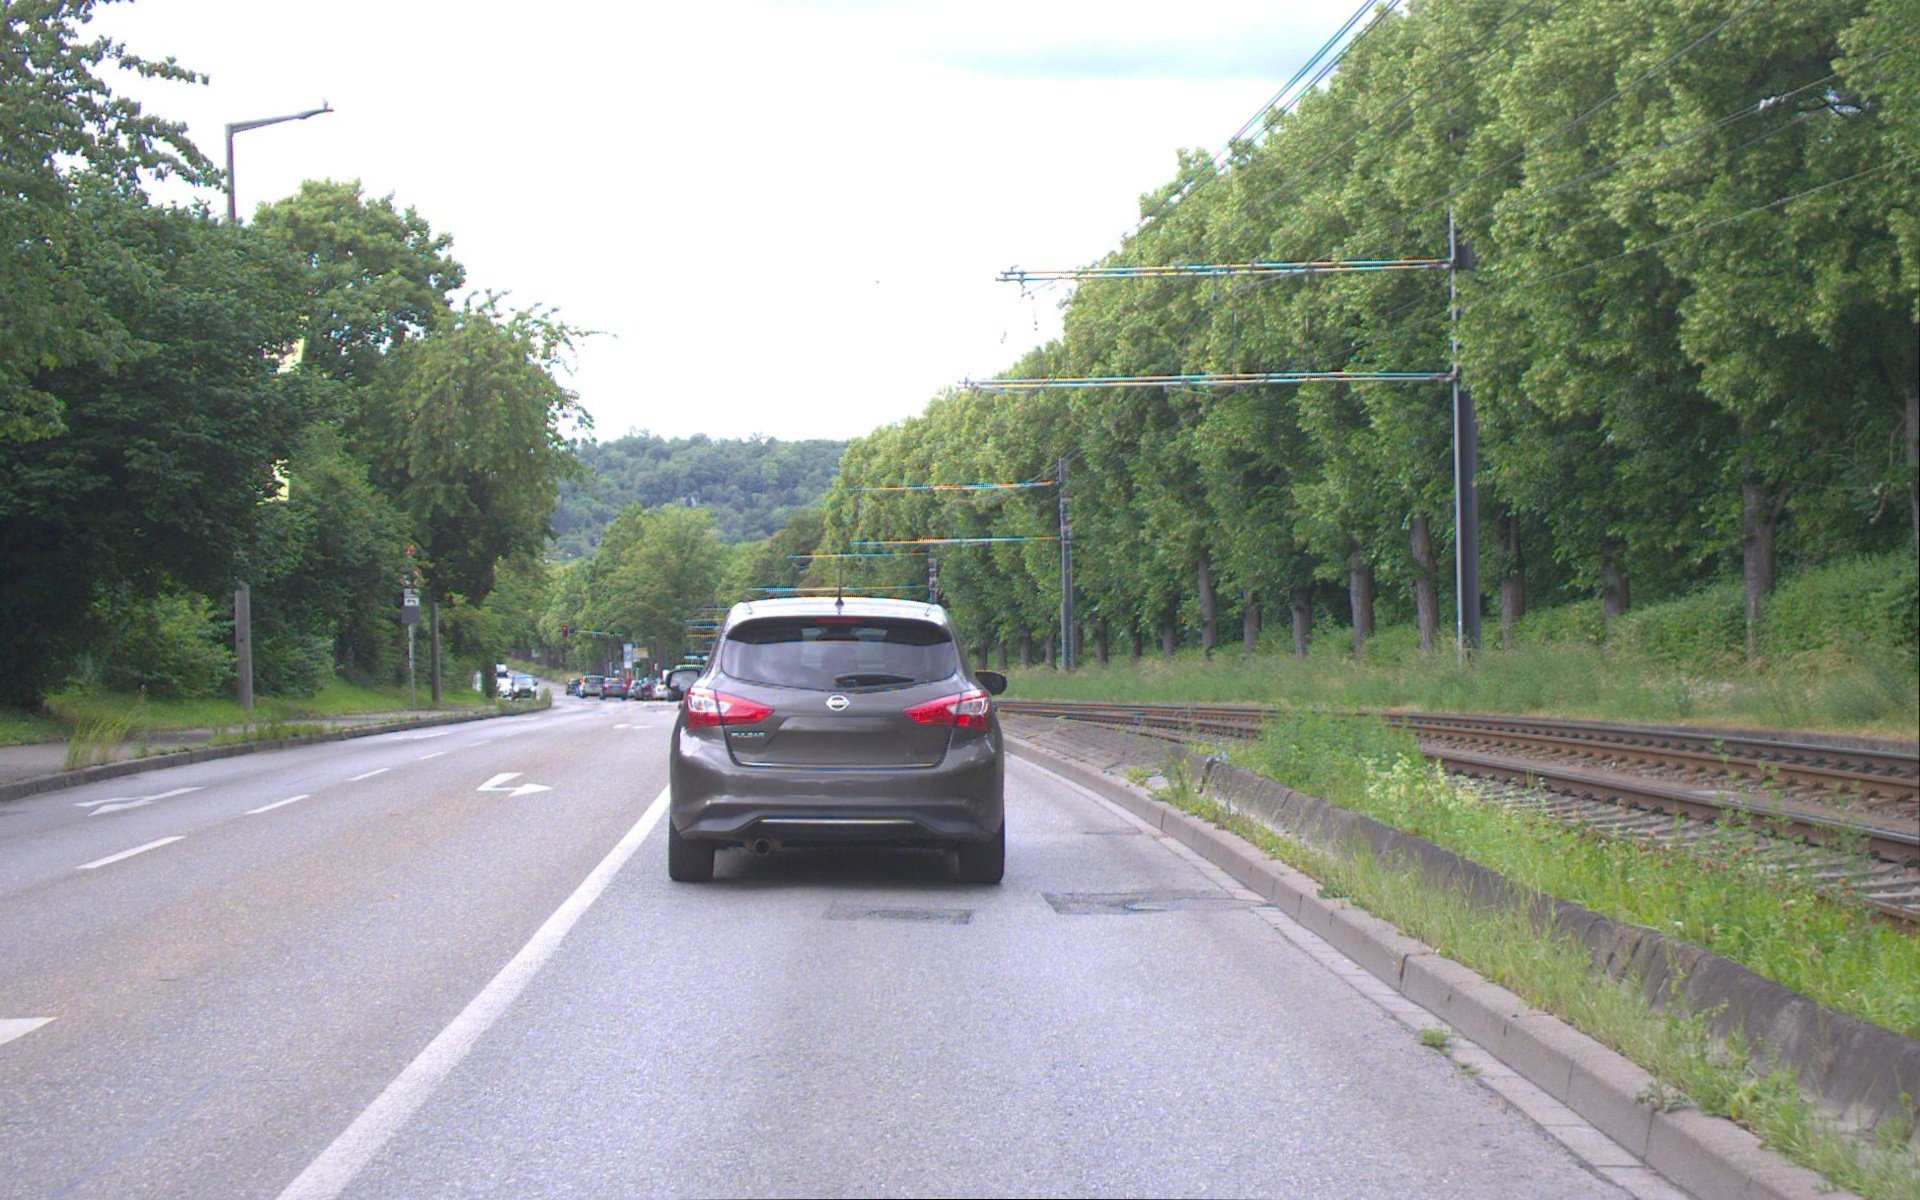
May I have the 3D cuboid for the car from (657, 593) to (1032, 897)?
[{"bbox_3d":[-0.628,0.742,19.272,1.850,1.488,4.000,1,0,-1],"label":"car"}]

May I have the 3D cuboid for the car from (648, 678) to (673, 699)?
[{"bbox_3d":[-21.552,6.374,247.607,1.699,1.471,3.706,0,-2,-4],"label":"car"}]

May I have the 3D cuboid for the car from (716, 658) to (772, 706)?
[{"bbox_3d":[-6.754,2.566,107.181,1.699,1.439,4.000,0,-2,-4],"label":"car"}]

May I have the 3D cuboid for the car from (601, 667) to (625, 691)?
[{"bbox_3d":[-25.793,5.893,255.524,1.699,1.708,4.000,0,-2,-4],"label":"car"}]

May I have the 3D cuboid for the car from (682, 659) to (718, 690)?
[{"bbox_3d":[-13.281,3.817,175.444,1.794,1.505,4.000,0,-2,-4],"label":"car"}]

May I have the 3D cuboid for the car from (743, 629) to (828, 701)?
[{"bbox_3d":[-3.648,1.372,71.368,1.699,1.439,4.000,0,-2,-4],"label":"car"}]
